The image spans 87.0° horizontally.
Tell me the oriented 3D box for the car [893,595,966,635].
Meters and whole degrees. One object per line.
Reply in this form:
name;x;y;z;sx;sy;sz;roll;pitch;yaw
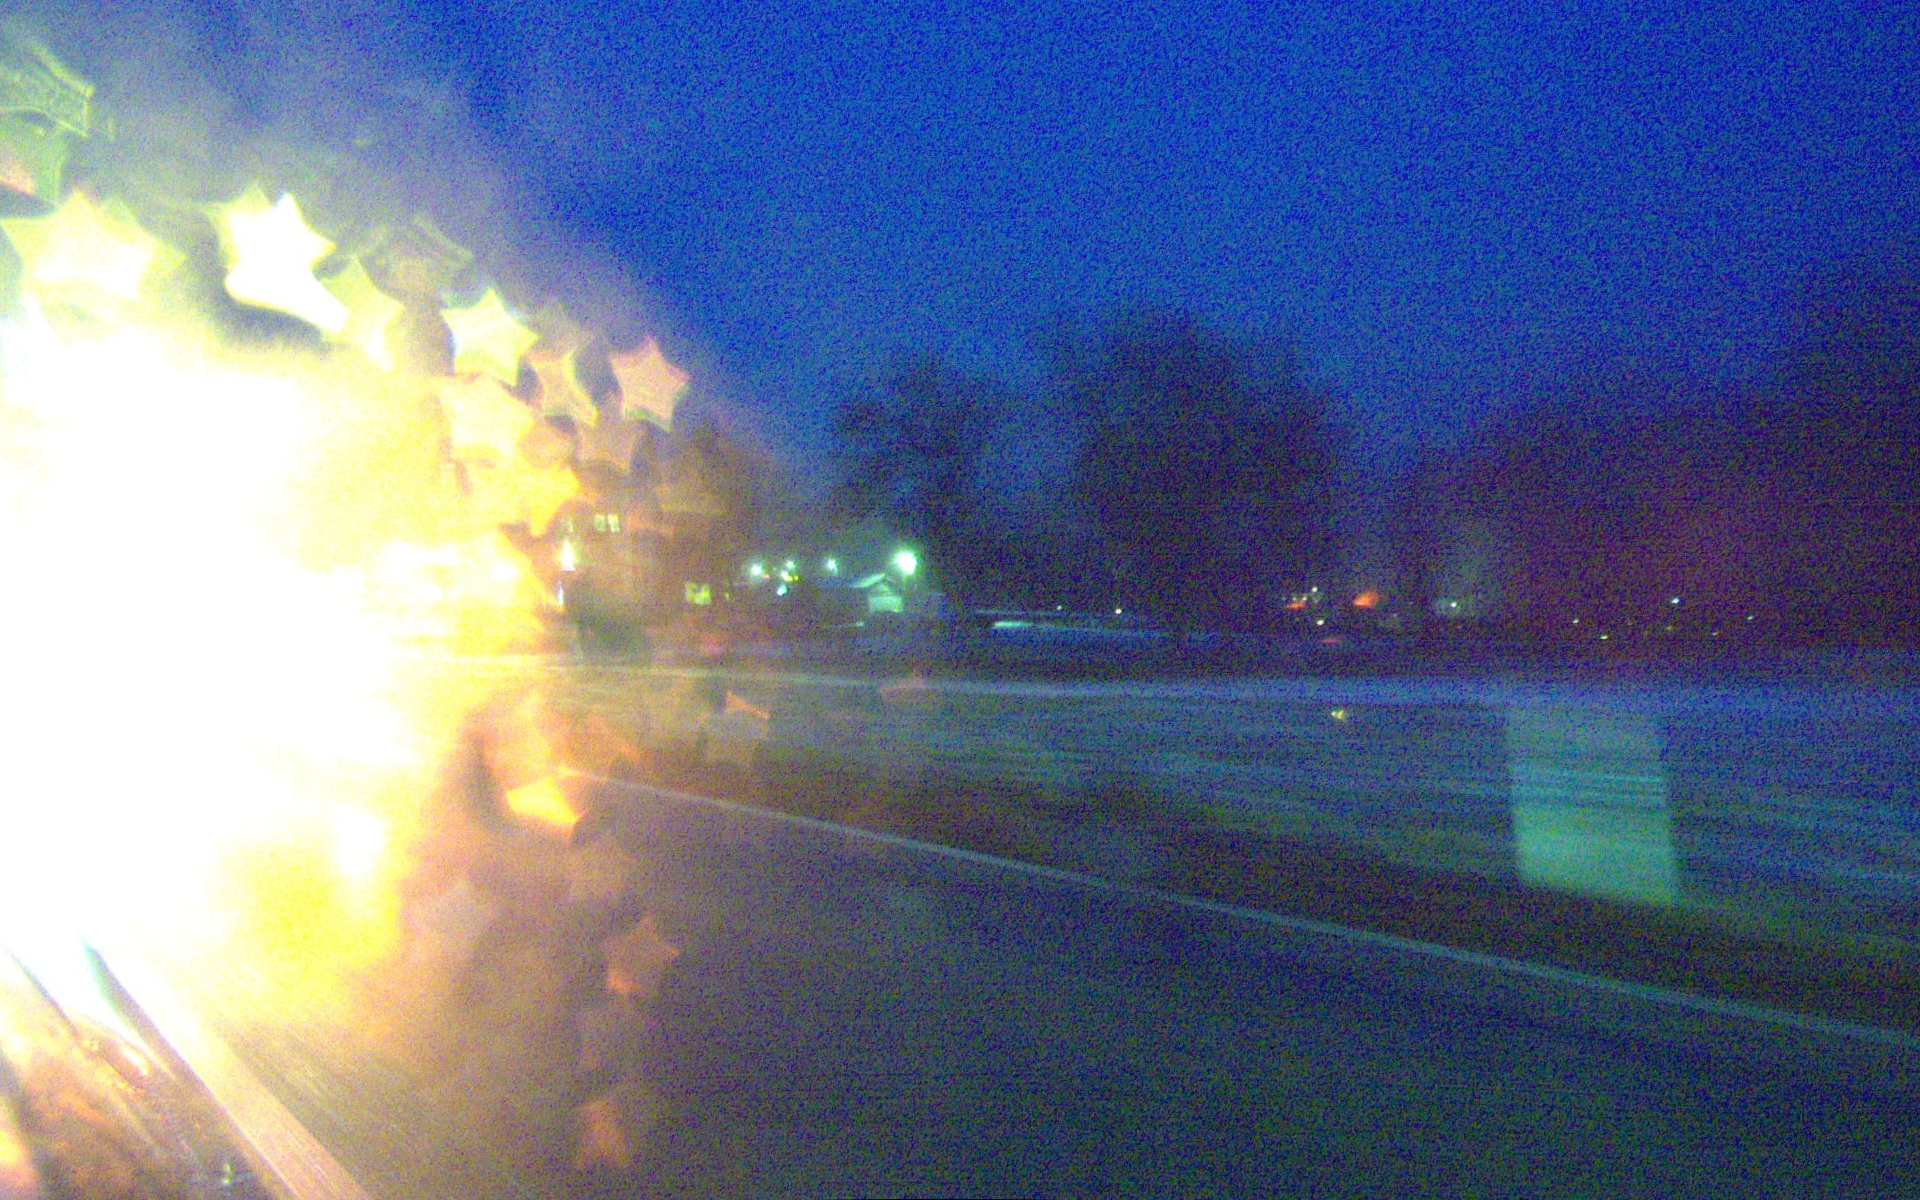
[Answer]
car;-1.809;0.861;59.865;3.992;2.071;1.976;3;4;36

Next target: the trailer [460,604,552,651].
trailer;-17.512;1.034;38.997;4.102;1.690;1.792;0;-2;44

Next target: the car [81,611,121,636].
car;-53.976;1.446;63.638;1.565;1.302;3.378;-2;4;-35

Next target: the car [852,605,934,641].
car;-3.870;1.272;57.808;4.622;1.709;1.918;3;4;38

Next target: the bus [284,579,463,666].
bus;-30.576;0.955;52.387;13.030;3.897;2.868;2;2;35

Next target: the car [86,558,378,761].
car;-9.155;0.618;12.542;4.845;2.029;1.972;-2;1;43

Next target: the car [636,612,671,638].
car;-21.516;1.714;71.231;1.831;1.408;4.049;3;3;-10

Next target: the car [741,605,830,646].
car;-8.880;1.239;51.353;4.622;1.709;1.918;3;4;38

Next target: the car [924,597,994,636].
car;-0.071;0.950;61.542;3.992;2.071;1.743;3;4;36

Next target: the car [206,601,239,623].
car;-56.687;0.905;77.827;1.672;1.611;3.813;0;1;-31

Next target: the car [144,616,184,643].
car;-48.127;1.756;61.255;1.613;1.522;4.127;2;-2;-35

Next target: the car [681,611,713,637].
car;-18.555;1.655;71.498;1.831;1.408;4.049;3;3;-10
